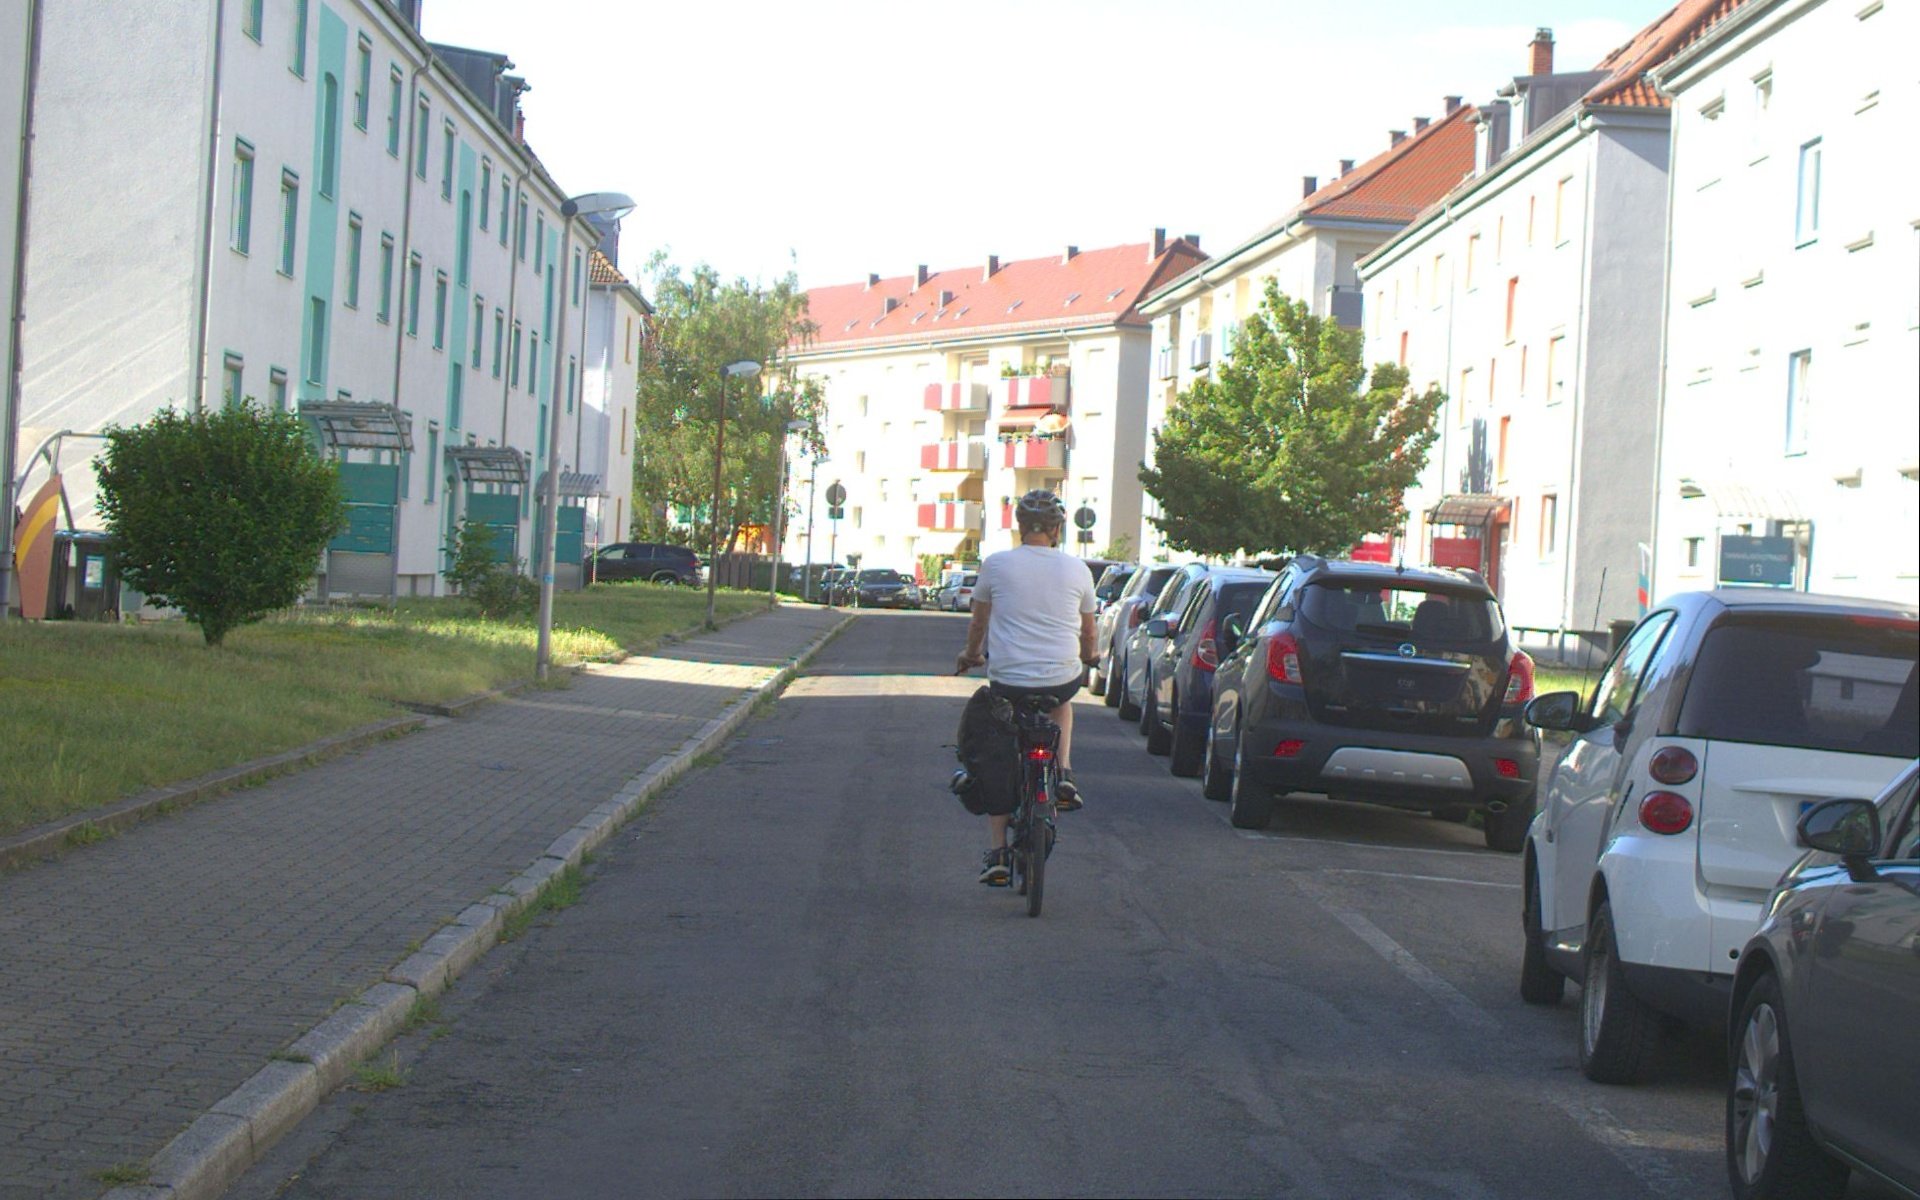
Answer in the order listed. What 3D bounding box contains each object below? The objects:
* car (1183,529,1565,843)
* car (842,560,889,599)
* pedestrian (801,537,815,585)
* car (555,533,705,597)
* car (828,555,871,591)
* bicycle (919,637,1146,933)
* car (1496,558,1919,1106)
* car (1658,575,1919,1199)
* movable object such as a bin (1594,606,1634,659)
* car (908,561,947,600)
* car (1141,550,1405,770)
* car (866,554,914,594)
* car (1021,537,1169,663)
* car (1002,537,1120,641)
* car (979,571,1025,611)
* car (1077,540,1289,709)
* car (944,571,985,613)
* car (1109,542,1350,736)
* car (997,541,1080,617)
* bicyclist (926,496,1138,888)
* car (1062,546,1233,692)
[{"bbox_3d":[2.489,0.450,21.711,1.783,1.642,4.469,4,1,0],"label":"car"},{"bbox_3d":[-3.387,-0.745,122.839,1.469,1.331,3.141,-1,1,-4],"label":"car"},{"bbox_3d":[-5.060,-1.309,114.511,0.434,1.569,0.543,2,1,-1],"label":"pedestrian"},{"bbox_3d":[-9.542,-1.025,99.694,4.231,1.633,1.583,3,1,-4],"label":"car"},{"bbox_3d":[-4.170,-1.026,129.505,1.469,1.331,3.141,-1,1,-4],"label":"car"},{"bbox_3d":[0.284,0.768,15.077,0.808,1.124,2.102,2,1,-3],"label":"bicycle"},{"bbox_3d":[2.751,0.685,11.536,1.480,1.524,2.940,5,1,3],"label":"car"},{"bbox_3d":[2.794,0.782,7.062,1.693,1.486,3.985,5,1,-2],"label":"car"},{"bbox_3d":[11.302,0.555,59.446,0.523,0.883,0.633,3,1,0],"label":"movable object such as a bin"},{"bbox_3d":[-1.389,-0.840,147.603,1.469,1.511,3.077,4,1,-3],"label":"car"},{"bbox_3d":[2.358,0.400,26.808,1.641,1.493,4.156,3,1,0],"label":"car"},{"bbox_3d":[-2.423,-0.902,118.486,1.469,1.331,3.141,0,1,-5],"label":"car"},{"bbox_3d":[1.969,-0.025,51.334,1.862,1.662,4.127,5,1,-1],"label":"car"},{"bbox_3d":[1.778,-0.226,61.916,1.700,1.665,4.380,4,1,-2],"label":"car"},{"bbox_3d":[1.562,-0.338,128.043,1.469,1.331,3.141,4,1,-3],"label":"car"},{"bbox_3d":[2.432,0.225,38.467,1.750,1.612,4.453,5,1,-3],"label":"car"},{"bbox_3d":[0.165,-0.330,134.788,1.381,1.492,3.077,4,1,-3],"label":"car"},{"bbox_3d":[2.465,0.307,32.415,1.690,1.569,4.435,4,1,-2],"label":"car"},{"bbox_3d":[1.927,-0.542,85.441,1.674,1.733,3.943,4,1,-3],"label":"car"},{"bbox_3d":[0.302,0.386,15.057,0.808,1.638,0.899,2,1,-3],"label":"bicyclist"},{"bbox_3d":[2.317,0.194,43.555,1.712,1.590,4.398,6,1,-1],"label":"car"}]
